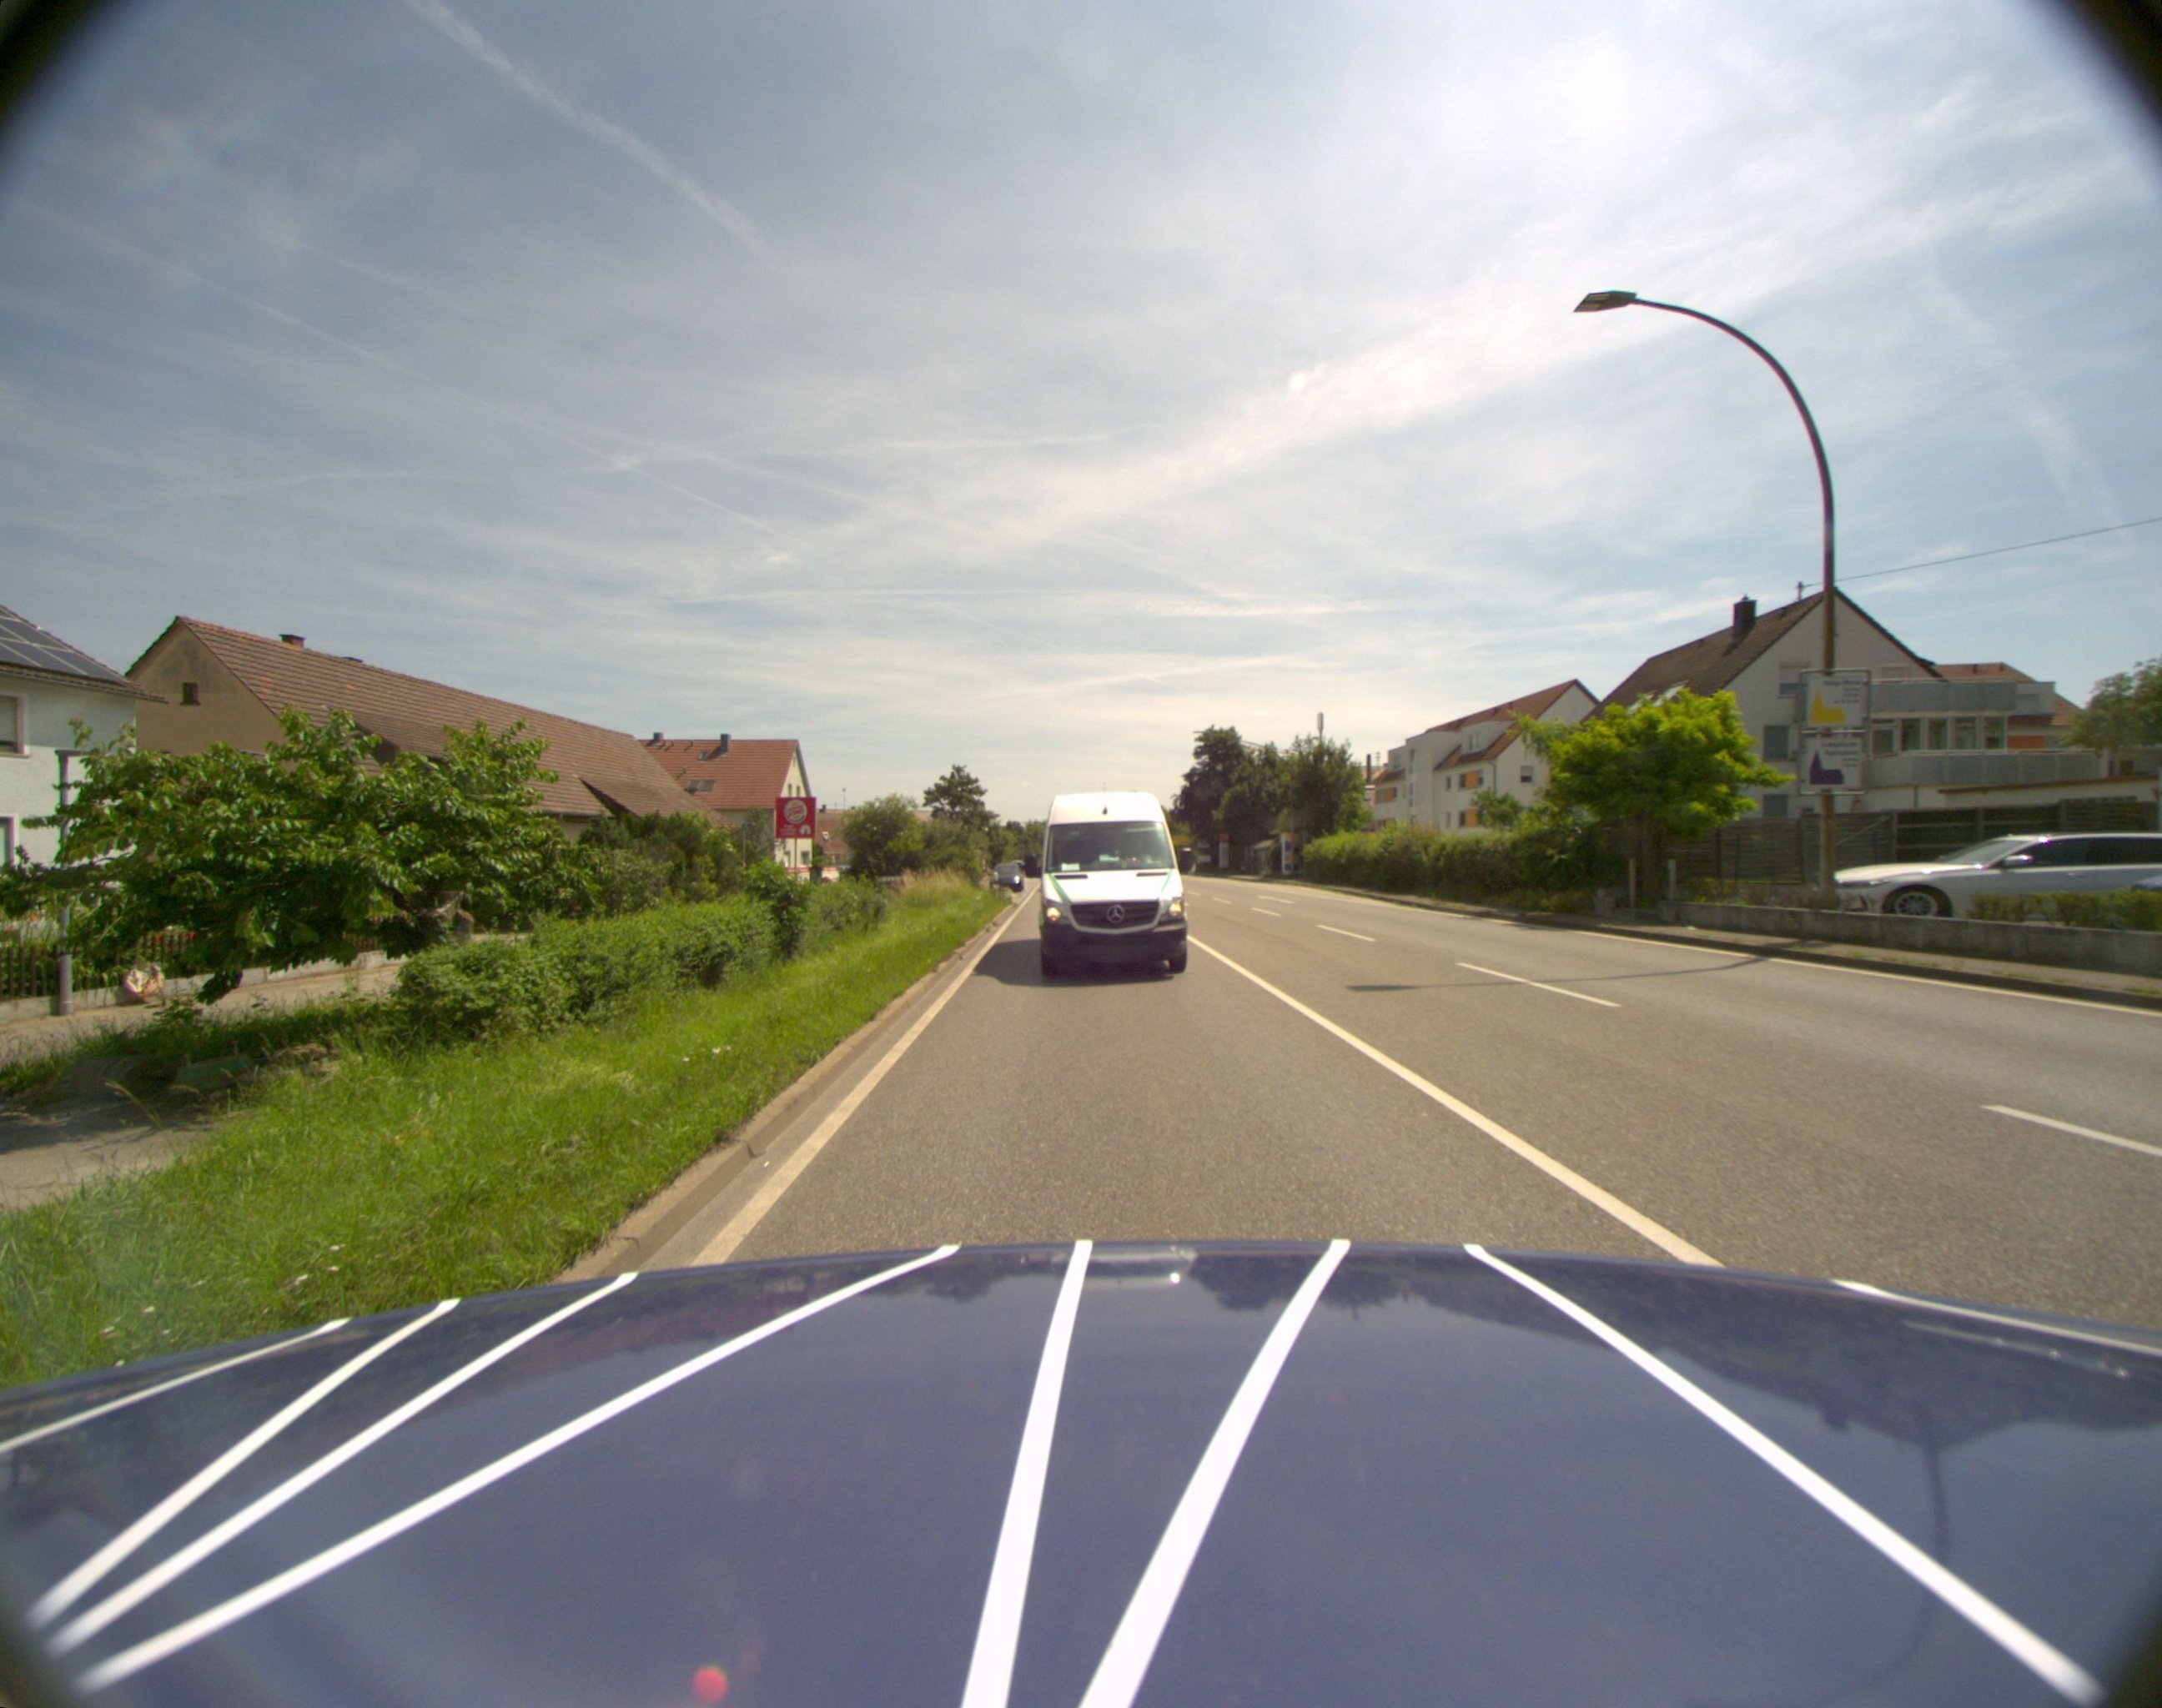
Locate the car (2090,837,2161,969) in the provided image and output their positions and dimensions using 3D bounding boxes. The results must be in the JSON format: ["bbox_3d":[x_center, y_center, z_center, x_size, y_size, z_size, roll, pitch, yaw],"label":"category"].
[{"bbox_3d":[14.082,0.503,7.651,4.331,1.439,1.860,-2,1,29],"label":"car"}]

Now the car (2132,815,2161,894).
[{"bbox_3d":[20.421,-0.004,11.972,1.807,1.456,4.585,-2,0,9],"label":"car"}]

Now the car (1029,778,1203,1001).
[{"bbox_3d":[0.377,0.412,11.610,1.939,2.514,5.748,-2,0,-1],"label":"car"}]

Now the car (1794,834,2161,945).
[{"bbox_3d":[14.242,0.532,11.575,4.569,1.439,1.860,-3,1,29],"label":"car"}]

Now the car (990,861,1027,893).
[{"bbox_3d":[-3.798,1.196,40.347,1.636,1.476,3.551,-4,0,-2],"label":"car"}]

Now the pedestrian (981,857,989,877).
[{"bbox_3d":[-7.474,1.010,59.093,0.522,1.540,0.562,-2,1,-19],"label":"pedestrian"}]

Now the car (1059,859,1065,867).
[{"bbox_3d":[-6.503,2.934,258.680,1.999,2.573,3.999,-2,1,0],"label":"car"}]
